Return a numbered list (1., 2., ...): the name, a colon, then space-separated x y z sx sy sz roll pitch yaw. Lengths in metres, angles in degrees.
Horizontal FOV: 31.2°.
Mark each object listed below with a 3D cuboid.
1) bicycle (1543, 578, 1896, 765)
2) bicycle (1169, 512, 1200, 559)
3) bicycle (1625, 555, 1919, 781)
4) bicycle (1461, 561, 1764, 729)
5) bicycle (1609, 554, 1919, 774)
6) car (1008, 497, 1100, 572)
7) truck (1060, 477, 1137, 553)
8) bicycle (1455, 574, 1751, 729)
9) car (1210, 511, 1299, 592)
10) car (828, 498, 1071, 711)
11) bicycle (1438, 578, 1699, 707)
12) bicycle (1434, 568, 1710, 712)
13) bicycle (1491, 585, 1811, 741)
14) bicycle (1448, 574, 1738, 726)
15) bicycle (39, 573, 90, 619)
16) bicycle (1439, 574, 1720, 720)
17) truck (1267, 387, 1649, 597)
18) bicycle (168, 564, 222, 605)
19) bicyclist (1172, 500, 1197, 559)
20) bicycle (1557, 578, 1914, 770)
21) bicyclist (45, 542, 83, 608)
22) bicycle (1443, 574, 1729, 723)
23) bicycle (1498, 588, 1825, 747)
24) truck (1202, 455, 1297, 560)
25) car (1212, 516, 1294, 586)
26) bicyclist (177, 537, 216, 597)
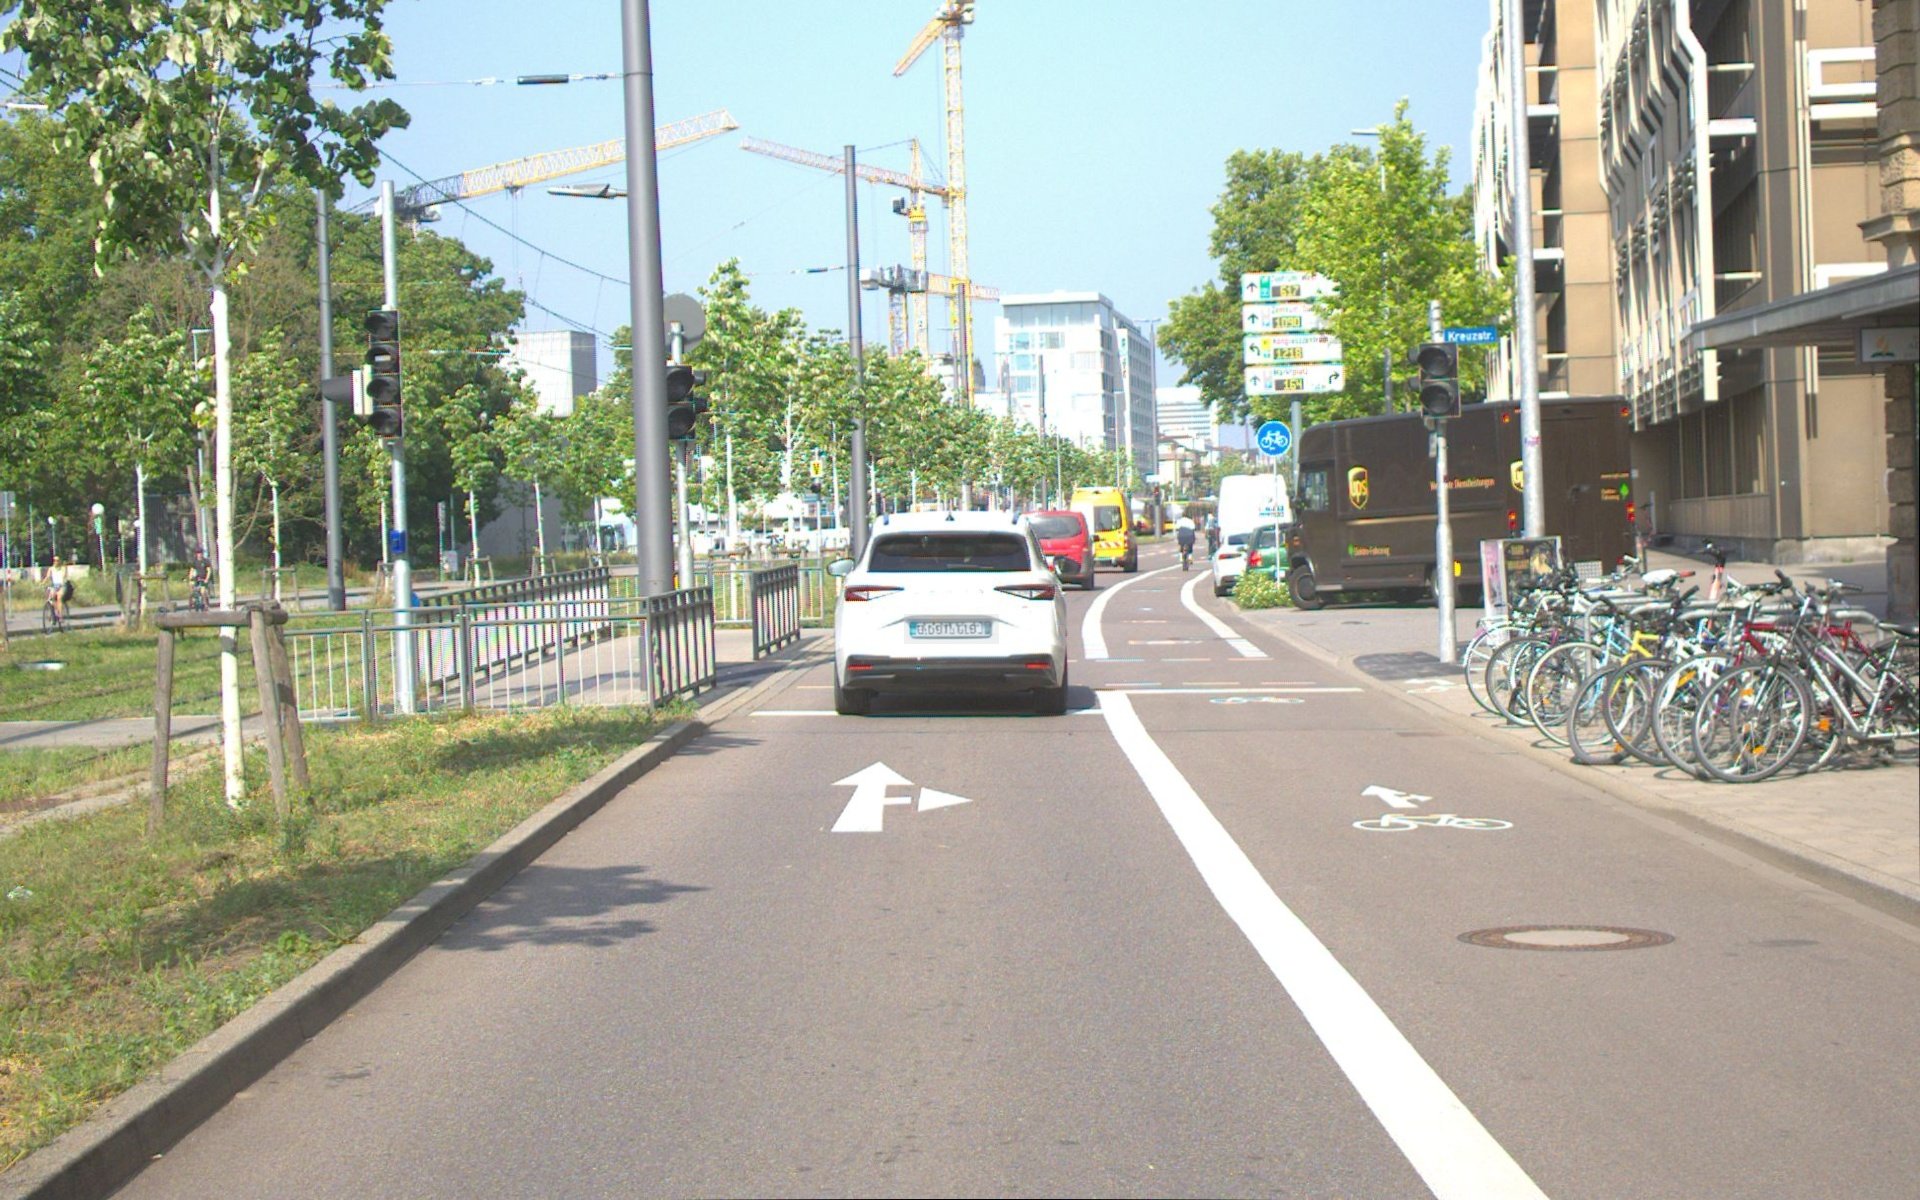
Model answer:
1. bicycle: 4.541 0.422 20.605 1.955 0.983 0.471 -4 1 0
2. bicycle: 7.288 -2.099 111.823 0.781 1.491 2.801 -2 1 0
3. bicycle: 4.815 0.339 18.654 2.239 1.100 0.588 -4 1 0
4. bicycle: 4.438 0.304 23.458 1.934 1.009 0.440 -4 1 3
5. bicycle: 4.826 0.334 19.209 2.239 1.100 0.519 -4 1 0
6. car: 2.244 -1.553 80.895 1.994 1.678 4.369 -1 1 3
7. truck: 4.428 -2.727 110.503 2.213 2.310 5.890 -2 1 0
8. bicycle: 4.460 0.353 23.905 1.934 0.942 0.440 -4 1 3
9. car: 5.809 -0.968 67.545 1.650 1.494 3.526 -1 1 6
10. car: -0.144 -0.003 28.213 1.817 1.584 4.407 -1 1 -2
11. bicycle: 4.653 0.325 26.353 1.887 0.860 0.428 -4 1 3
12. bicycle: 4.562 0.292 25.675 1.934 0.942 0.428 -4 1 3
13. bicycle: 4.463 0.406 22.250 1.934 0.871 0.441 -4 1 0
14. bicycle: 4.479 0.349 24.385 1.934 0.942 0.440 -4 1 3
15. bicycle: -19.732 -0.102 75.796 0.538 0.955 1.918 -1 1 2
16. bicycle: 4.533 0.341 25.211 1.934 0.942 0.428 -4 1 3
17. truck: 7.553 -1.617 53.123 2.509 3.001 6.962 -2 1 -23
18. bicycle: -19.470 -0.401 87.517 0.696 0.987 2.824 -1 1 1
19. bicyclist: 7.281 -2.298 111.647 0.709 1.889 0.843 -2 1 0
20. bicycle: 4.528 0.426 20.125 1.934 0.983 0.471 -4 1 0
21. bicyclist: -19.751 -0.553 75.805 0.538 1.417 0.900 -1 1 2
22. bicycle: 4.499 0.345 24.768 1.934 0.942 0.428 -4 1 3
23. bicycle: 4.438 0.425 21.806 1.934 0.871 0.441 -4 1 0
24. truck: 7.176 -2.287 85.683 1.993 2.500 4.000 -2 1 0
25. car: 6.147 -1.034 71.901 1.650 1.380 3.526 -1 1 6
26. bicyclist: -19.473 -0.843 87.699 0.696 1.510 1.186 -1 1 1
